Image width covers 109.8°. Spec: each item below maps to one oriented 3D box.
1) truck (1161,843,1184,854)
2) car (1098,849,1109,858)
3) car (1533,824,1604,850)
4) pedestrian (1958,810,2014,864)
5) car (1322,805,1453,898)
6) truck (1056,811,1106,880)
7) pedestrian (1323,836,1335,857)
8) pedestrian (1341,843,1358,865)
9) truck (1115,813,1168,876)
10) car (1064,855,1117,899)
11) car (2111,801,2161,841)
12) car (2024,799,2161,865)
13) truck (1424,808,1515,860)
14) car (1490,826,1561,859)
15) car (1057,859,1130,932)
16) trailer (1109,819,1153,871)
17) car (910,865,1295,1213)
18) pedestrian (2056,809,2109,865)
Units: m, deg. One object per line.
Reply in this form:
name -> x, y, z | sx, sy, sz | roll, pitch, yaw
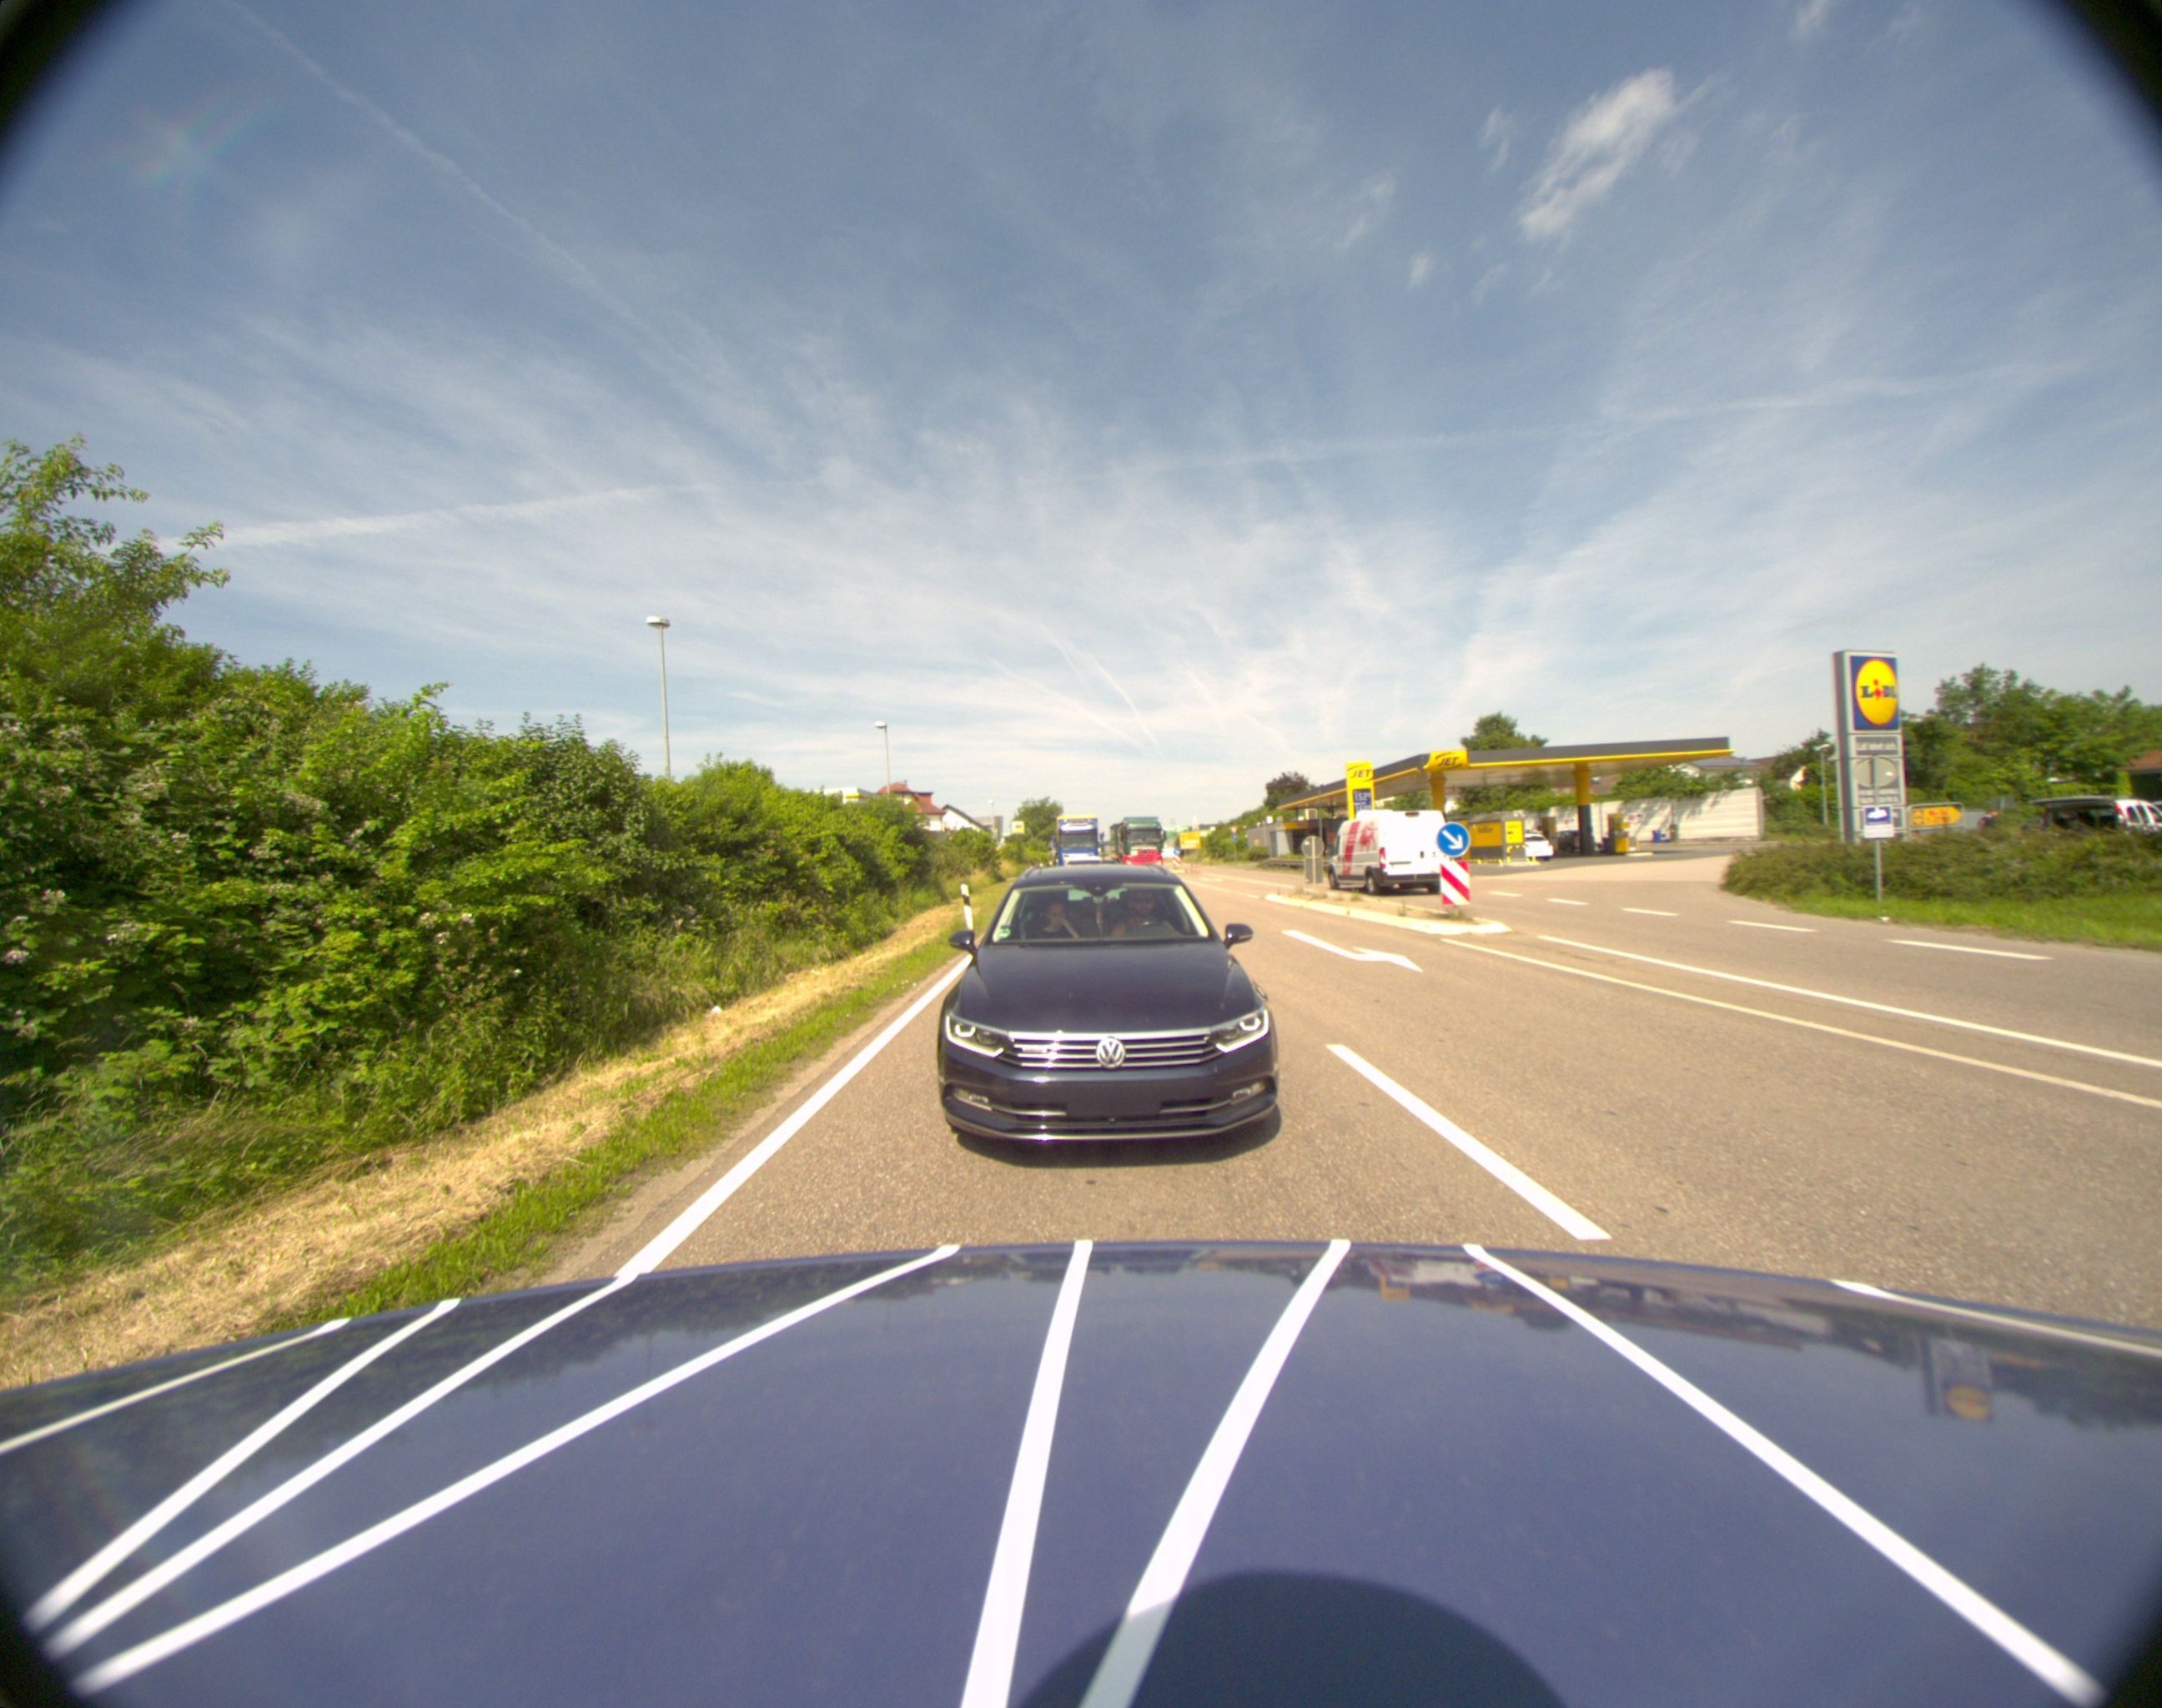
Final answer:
truck -> 19.428, -1.113, 161.815 | 4.770, 1.997, 2.000 | -3, 1, 3
car -> 4.092, -0.058, 139.434 | 1.819, 1.626, 3.893 | -2, 0, 1
car -> 32.211, -1.098, 50.318 | 1.753, 1.603, 3.873 | -2, 0, -10
pedestrian -> 27.405, -0.510, 23.016 | 0.704, 1.566, 0.809 | -2, 0, -1
car -> 9.815, -0.069, 24.969 | 2.122, 2.639, 5.987 | -1, 0, 3
truck -> 0.111, -0.556, 51.534 | 2.855, 3.999, 12.916 | -2, 0, 1
pedestrian -> 22.310, -0.662, 68.306 | 0.798, 1.827, 0.640 | -3, 1, 1
pedestrian -> 17.716, 0.004, 50.140 | 0.914, 1.419, 0.494 | -2, 1, 1
truck -> 4.072, -0.629, 53.301 | 2.675, 3.897, 10.048 | -2, 0, 0
car -> 0.370, 0.822, 28.734 | 1.814, 1.466, 3.973 | -2, 0, 1
car -> 44.687, -1.437, 30.763 | 3.999, 1.531, 1.769 | -3, 0, -7
car -> 30.701, -0.671, 22.809 | 4.172, 1.801, 1.877 | -3, 1, -23
truck -> 23.868, -1.187, 47.013 | 2.250, 2.906, 6.282 | -2, 1, -1
car -> 24.259, -0.576, 41.621 | 1.736, 1.718, 4.001 | -1, 0, 3
car -> 0.291, 0.877, 17.783 | 1.471, 1.451, 3.797 | -2, 0, 1
trailer -> 4.018, -0.700, 62.642 | 2.809, 3.897, 8.668 | -2, 0, 0
car -> 0.137, 0.907, 6.025 | 1.756, 1.493, 4.925 | -2, 0, 1
pedestrian -> 28.521, -0.481, 21.647 | 0.705, 1.566, 0.807 | -3, 2, -27
